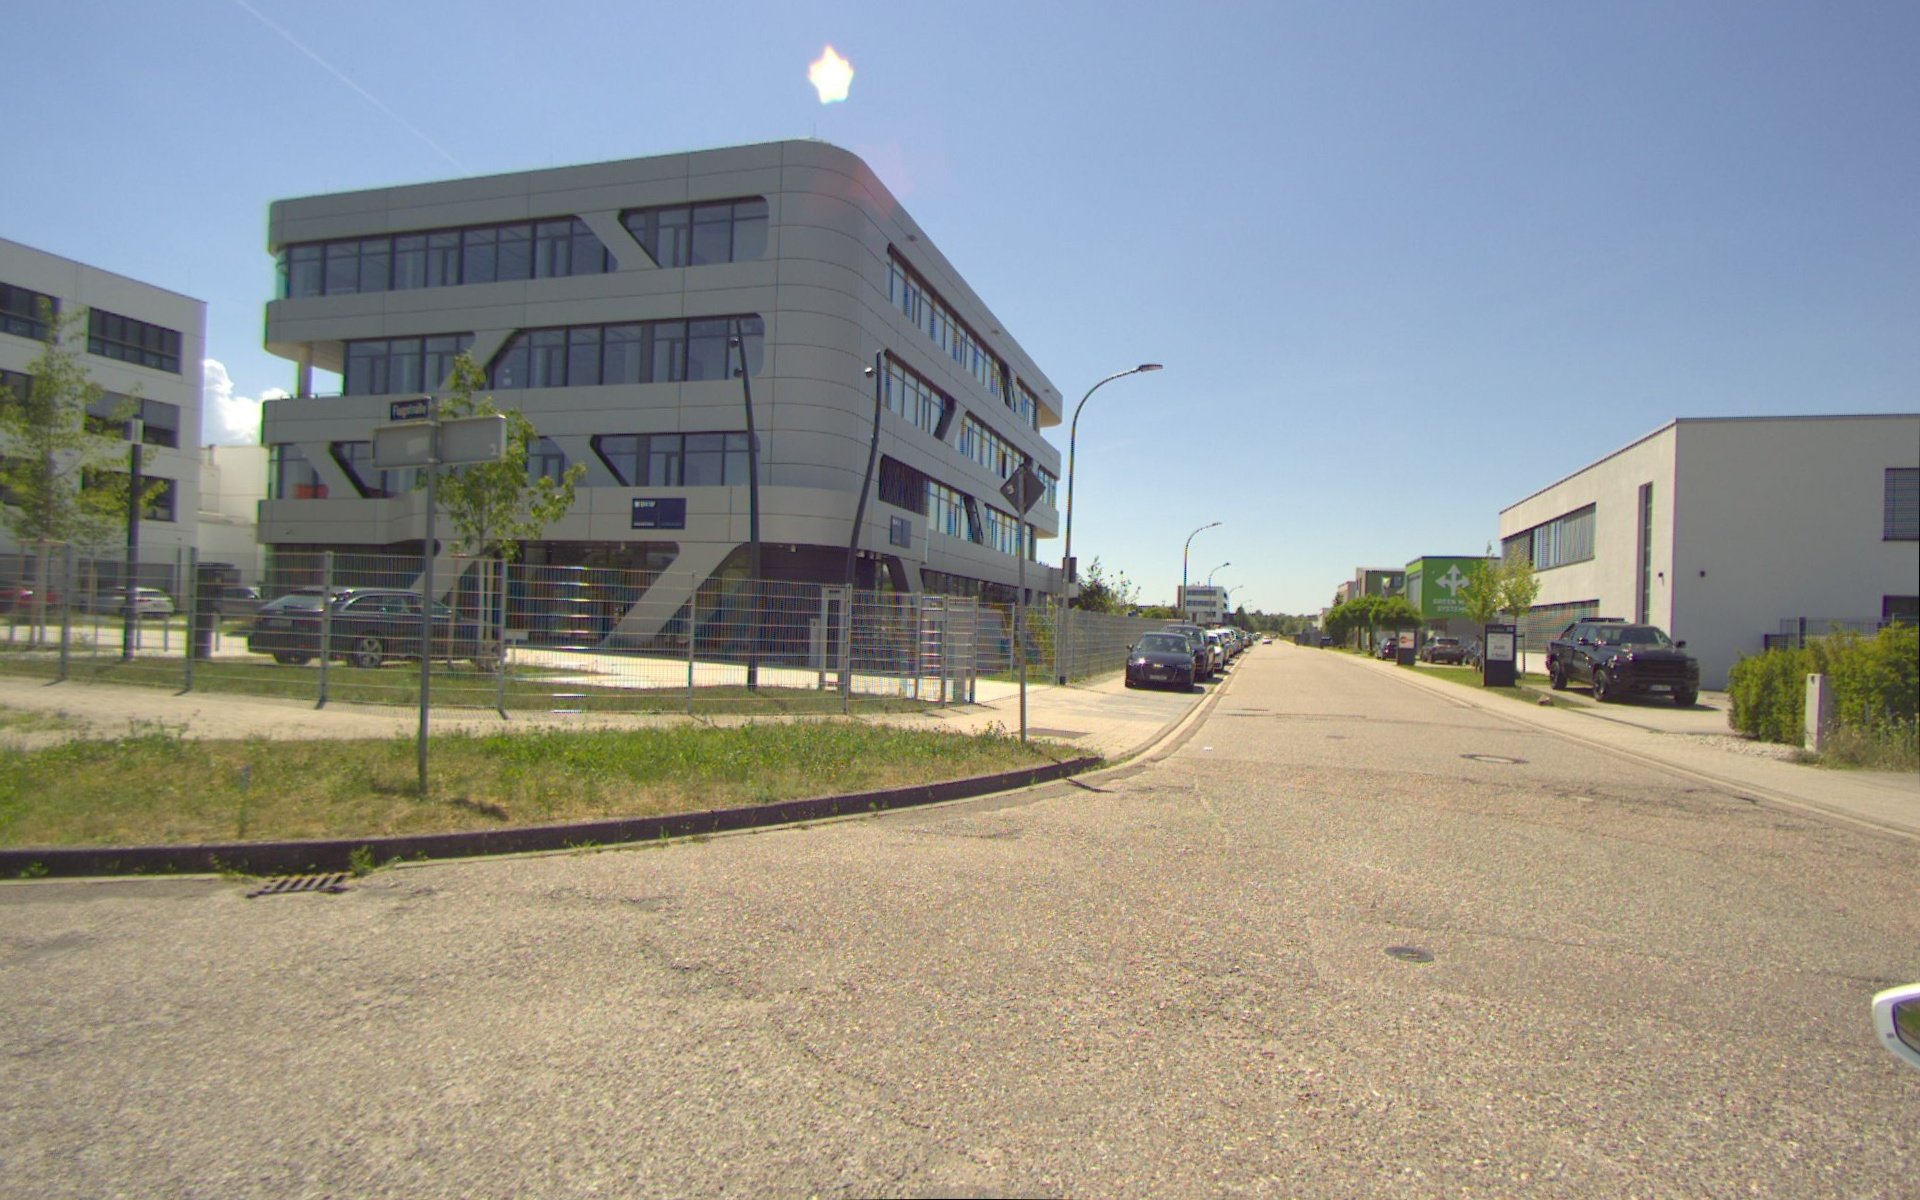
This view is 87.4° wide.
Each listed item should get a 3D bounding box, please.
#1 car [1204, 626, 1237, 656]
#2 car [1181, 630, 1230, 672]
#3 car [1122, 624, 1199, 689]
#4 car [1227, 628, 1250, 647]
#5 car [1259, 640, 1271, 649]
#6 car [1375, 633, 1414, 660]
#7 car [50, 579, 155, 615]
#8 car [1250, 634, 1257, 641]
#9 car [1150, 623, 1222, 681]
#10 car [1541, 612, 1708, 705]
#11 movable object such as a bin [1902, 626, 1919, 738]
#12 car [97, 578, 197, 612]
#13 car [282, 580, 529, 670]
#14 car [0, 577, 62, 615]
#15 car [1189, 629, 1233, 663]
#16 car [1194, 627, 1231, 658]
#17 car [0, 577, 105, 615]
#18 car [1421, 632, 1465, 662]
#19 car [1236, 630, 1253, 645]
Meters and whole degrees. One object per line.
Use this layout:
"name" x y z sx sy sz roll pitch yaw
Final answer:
"car" 14.993 2.320 57.685 1.674 1.556 4.574 3 -1 16
"car" 9.271 1.873 37.911 1.670 1.404 3.939 2 0 14
"car" 5.422 1.439 26.819 1.739 1.486 4.188 2 0 15
"car" 25.587 3.451 92.095 1.757 1.562 4.366 2 -1 19
"car" 56.564 8.195 186.328 1.675 1.430 4.787 2 -1 14
"car" 26.566 2.817 61.494 1.664 1.446 4.248 3 -1 17
"car" -40.260 -0.148 47.175 4.023 1.531 1.777 1 -1 16
"car" 70.851 9.069 242.248 1.442 1.509 3.208 2 -1 17
"car" 7.391 1.610 32.549 1.740 1.673 4.851 2 0 19
"car" 17.453 1.415 26.758 1.960 2.041 5.802 1 1 15
"movable object such as a bin" 13.850 1.132 13.479 1.360 1.543 1.171 1 -1 16
"car" -39.768 -0.251 49.140 4.023 1.531 1.777 1 -1 16
"car" -10.552 0.484 19.498 1.741 1.531 4.107 1 -1 16
"car" -40.690 -0.177 42.761 4.023 1.531 1.777 1 -1 16
"car" 11.670 2.093 46.574 1.656 1.404 4.640 2 0 18
"car" 13.327 2.201 52.784 1.674 1.463 4.442 3 -1 16
"car" -40.500 -0.179 44.703 4.023 1.531 1.777 1 -1 16
"car" 29.051 2.821 60.521 1.694 1.654 4.024 3 -1 17
"car" 33.142 4.349 117.010 1.760 1.628 4.465 3 -1 16
